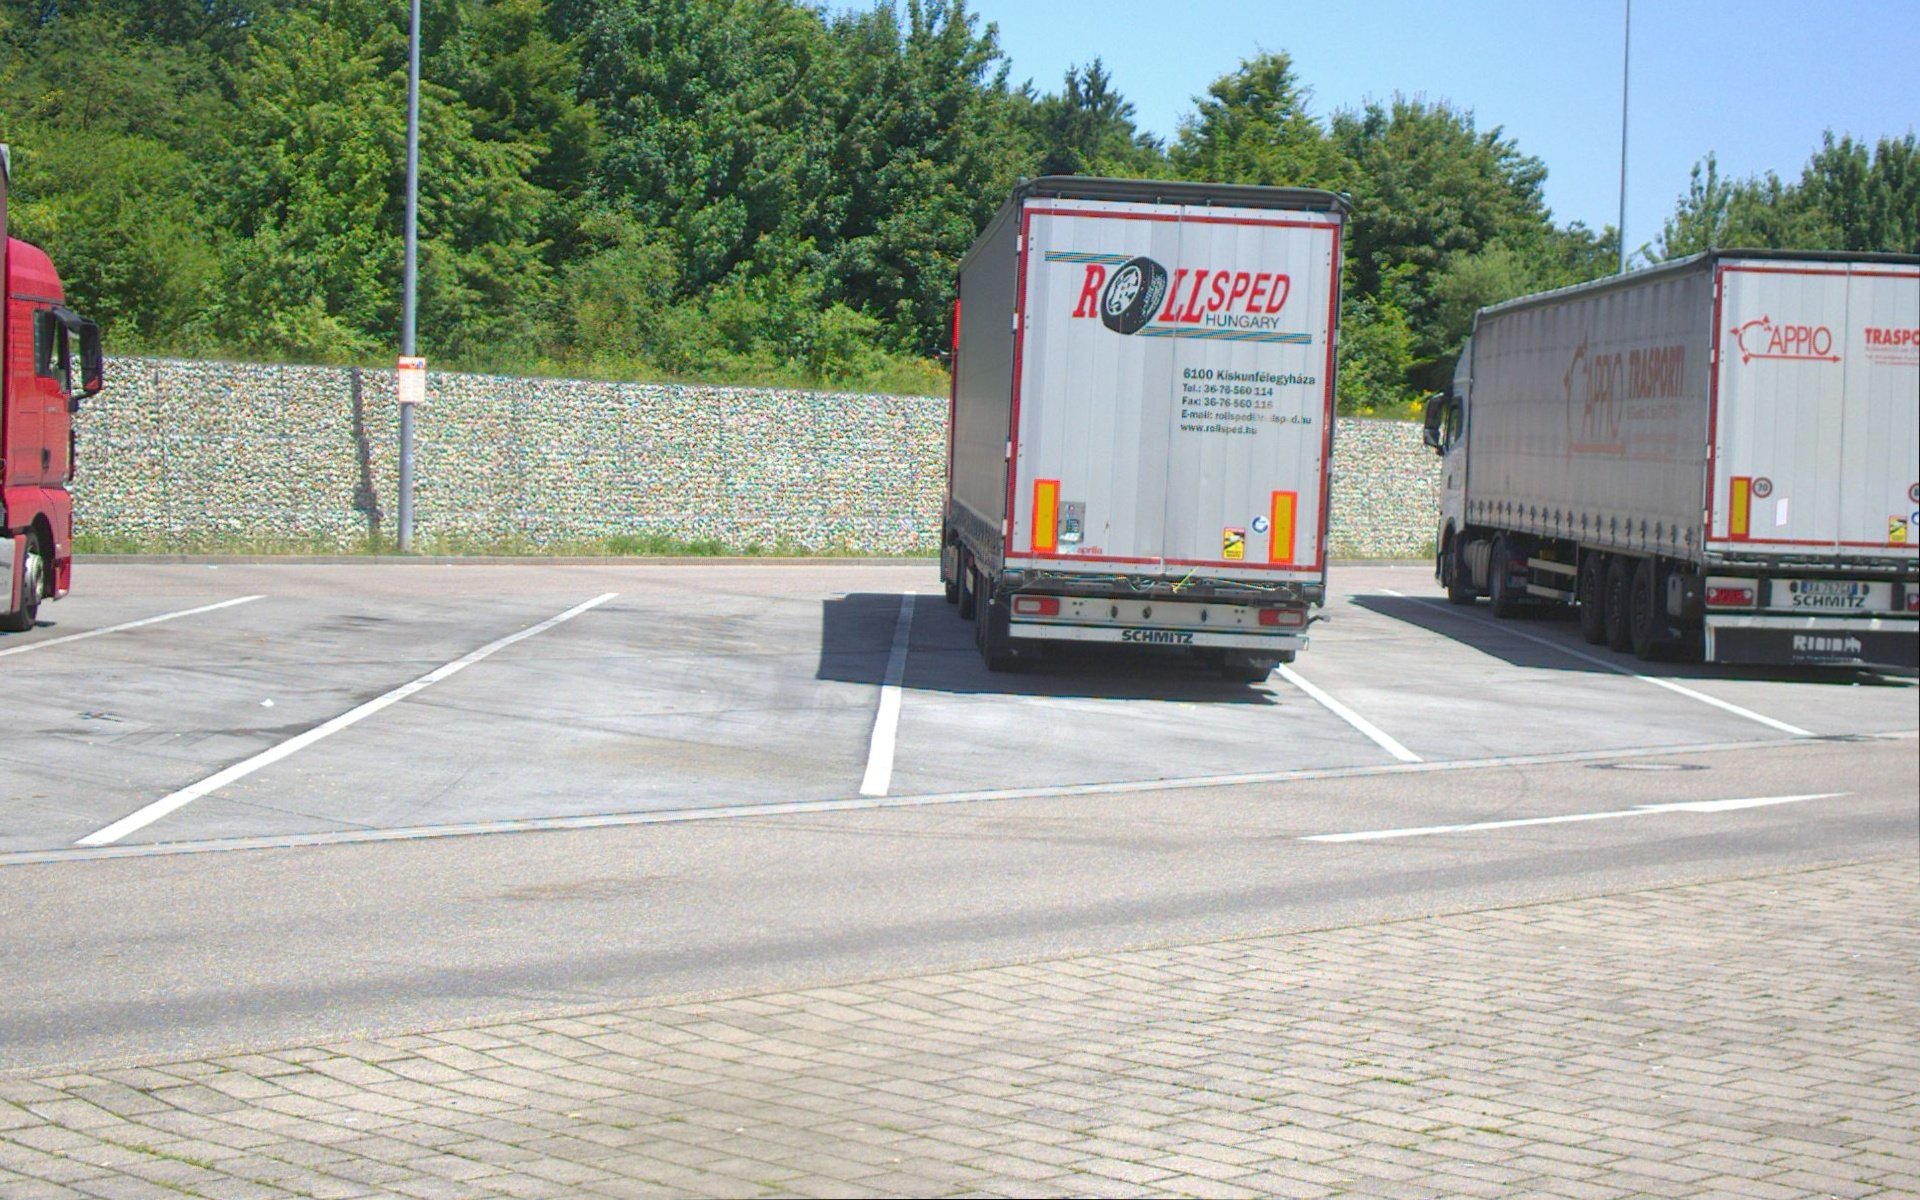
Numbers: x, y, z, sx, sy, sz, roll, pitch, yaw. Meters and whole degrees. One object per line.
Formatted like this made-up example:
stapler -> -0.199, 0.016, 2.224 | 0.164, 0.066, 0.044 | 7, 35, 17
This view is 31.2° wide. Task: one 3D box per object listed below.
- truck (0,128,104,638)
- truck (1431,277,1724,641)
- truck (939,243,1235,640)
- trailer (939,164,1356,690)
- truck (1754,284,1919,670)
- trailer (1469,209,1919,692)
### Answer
truck -> -9.170, -1.779, 28.334 | 2.805, 4.119, 5.894 | 1, 2, -1
truck -> 7.985, -1.823, 45.178 | 2.661, 4.437, 5.864 | 1, 2, -1
truck -> 1.263, -1.693, 37.693 | 2.871, 3.967, 6.030 | 1, 2, -1
trailer -> 1.403, -1.502, 32.034 | 2.897, 4.000, 11.319 | 1, 2, -2
truck -> 11.734, -1.337, 38.772 | 2.587, 4.211, 11.971 | 1, 1, -1
trailer -> 8.117, -1.578, 38.194 | 2.681, 4.437, 12.831 | 1, 2, -1
